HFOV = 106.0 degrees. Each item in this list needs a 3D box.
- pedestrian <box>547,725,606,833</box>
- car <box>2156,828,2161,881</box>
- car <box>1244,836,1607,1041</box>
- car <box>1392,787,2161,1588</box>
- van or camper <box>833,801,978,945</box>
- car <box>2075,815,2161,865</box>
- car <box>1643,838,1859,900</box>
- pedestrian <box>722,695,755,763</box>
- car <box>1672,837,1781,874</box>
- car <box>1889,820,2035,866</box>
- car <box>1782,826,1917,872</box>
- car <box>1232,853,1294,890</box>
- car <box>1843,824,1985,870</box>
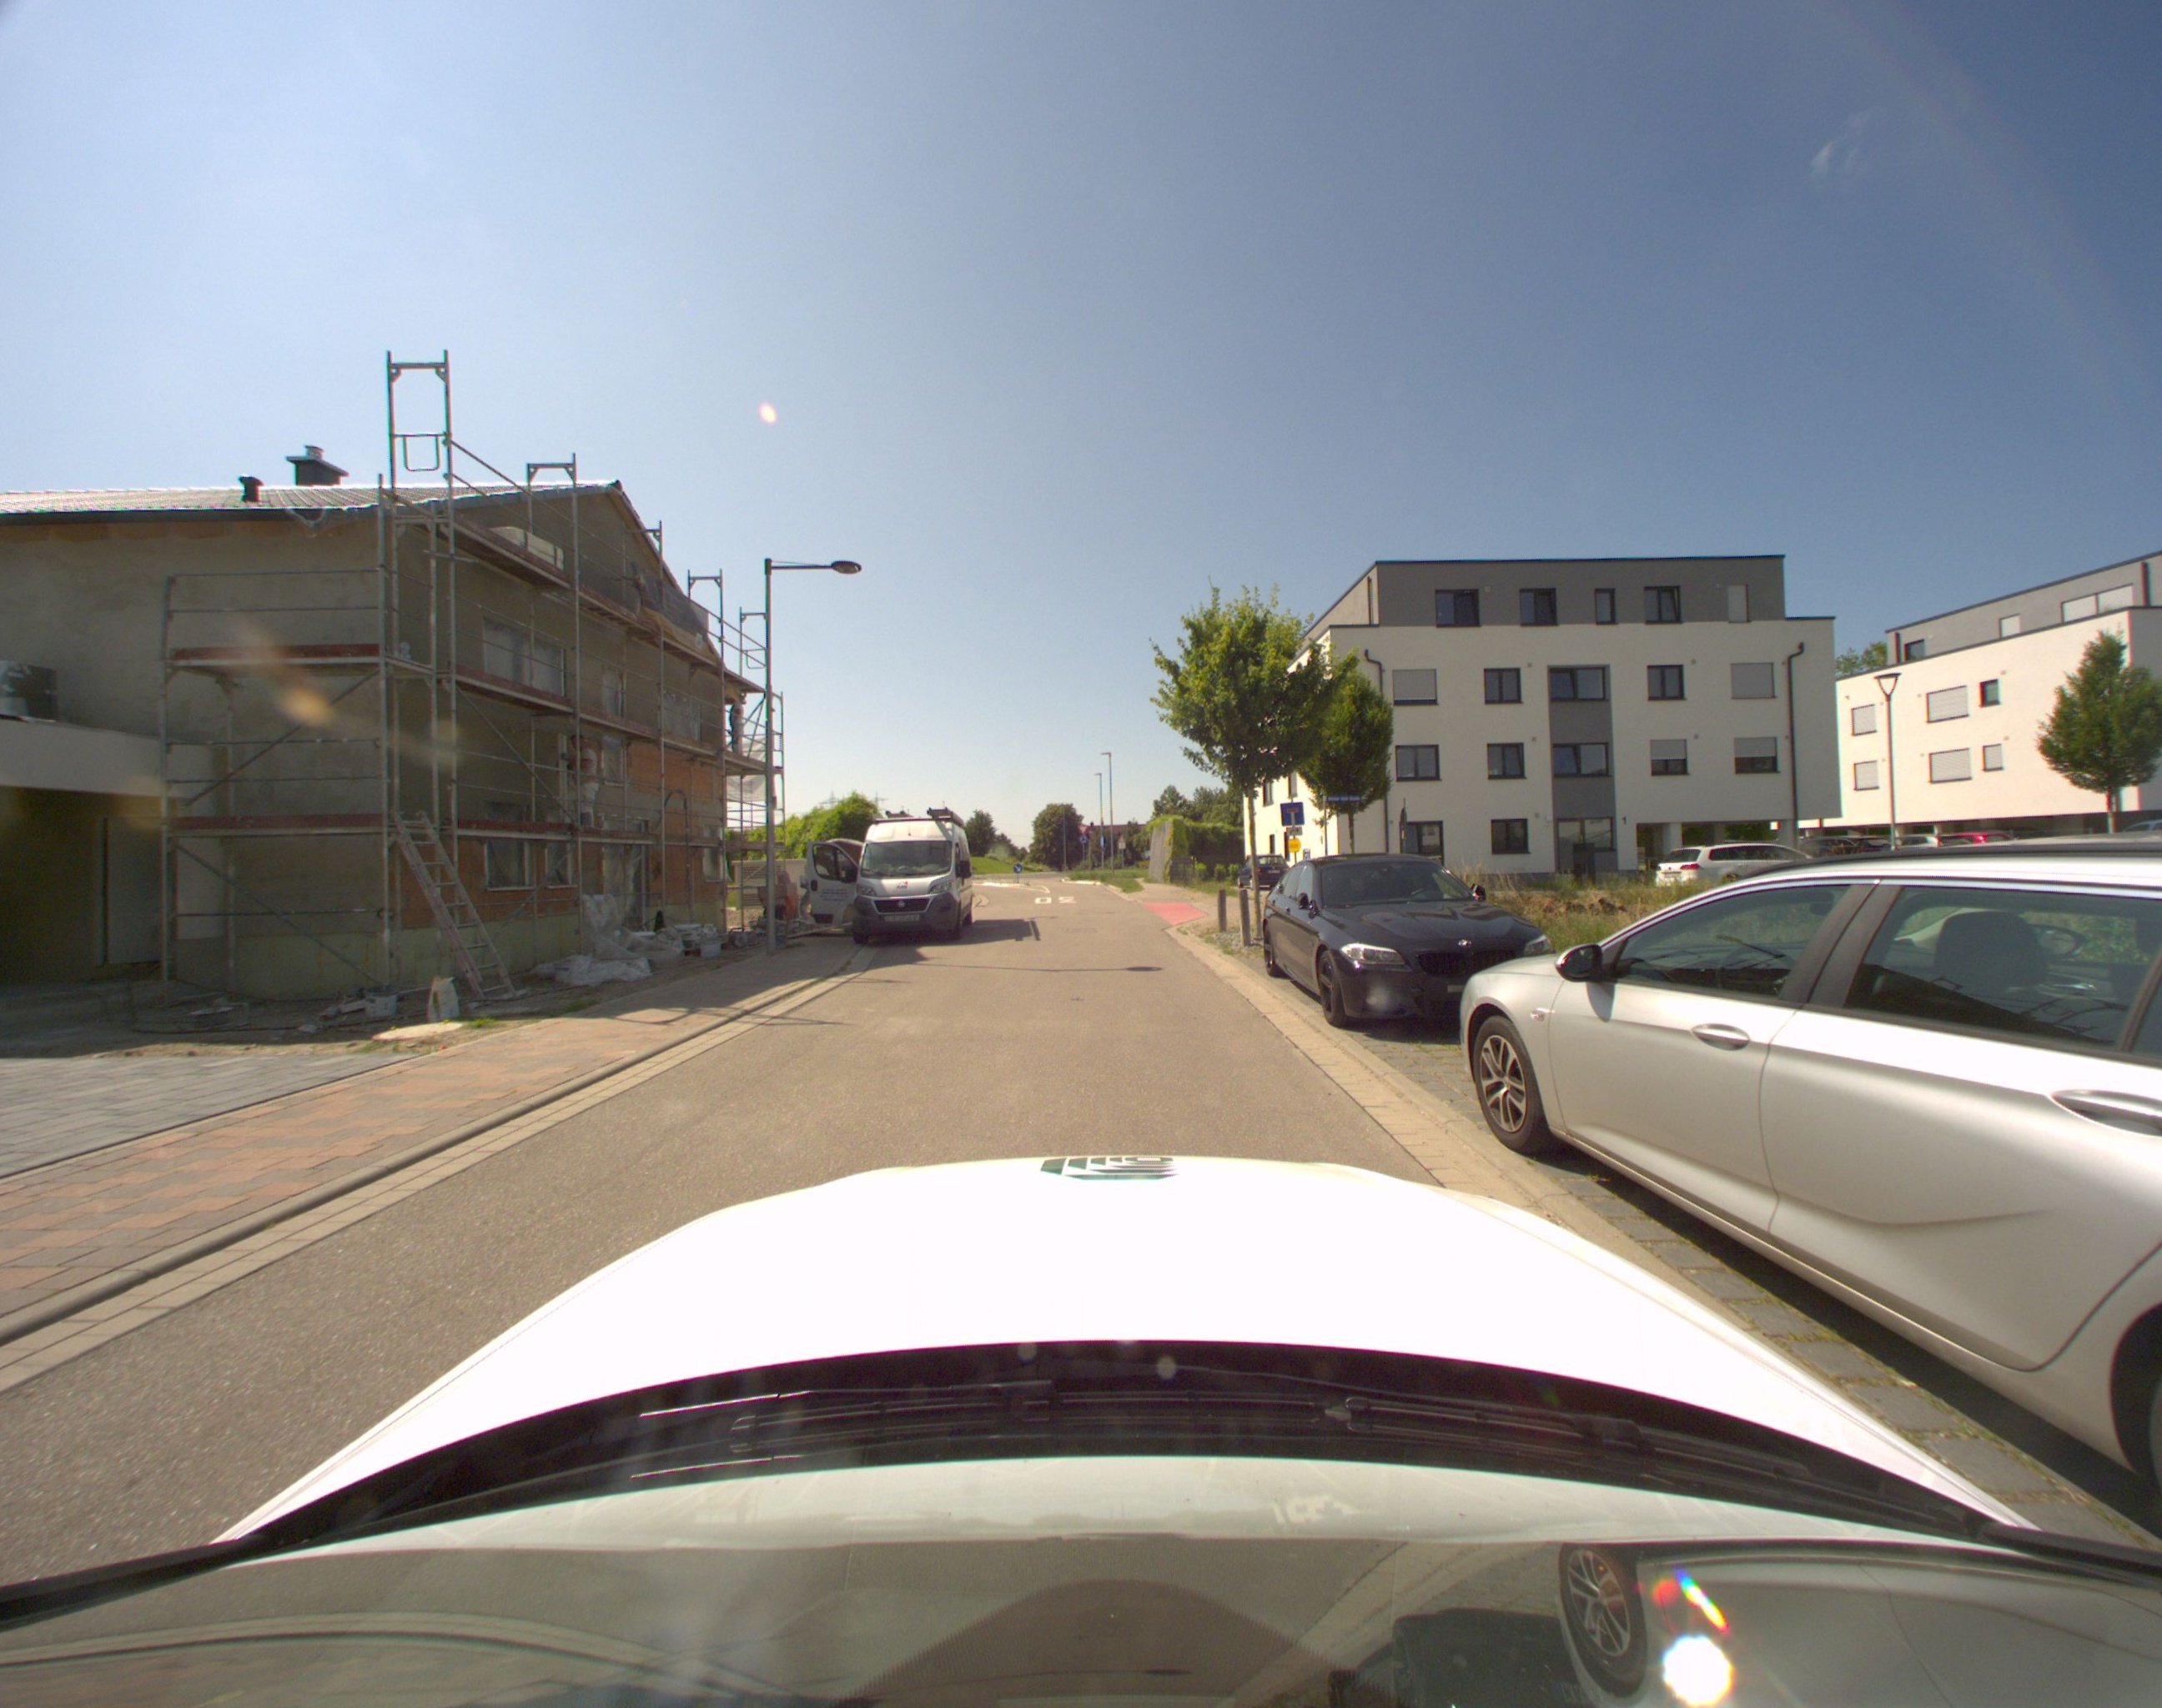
[{"bbox_3d":[-8.403,-1.222,13.559,0.752,1.680,0.571,1,-4,-41],"label":"pedestrian"},{"bbox_3d":[32.353,-0.088,21.999,4.146,1.478,1.882,-2,-2,-1],"label":"car"},{"bbox_3d":[3.135,0.647,8.781,1.910,1.469,5.144,-3,0,3],"label":"car"},{"bbox_3d":[2.984,0.582,2.712,1.911,1.511,5.296,-3,0,1],"label":"car"},{"bbox_3d":[-3.590,0.406,17.996,2.269,2.553,6.355,-2,-1,-5],"label":"van or camper"},{"bbox_3d":[40.692,-0.559,30.504,1.868,1.810,4.175,-2,-2,4],"label":"car"},{"bbox_3d":[17.601,0.413,21.548,4.146,1.436,1.882,-2,-2,-1],"label":"car"},{"bbox_3d":[-8.334,-3.023,19.816,0.566,1.500,0.740,0,-4,-36],"label":"pedestrian"},{"bbox_3d":[28.356,0.113,35.942,1.870,1.503,3.678,-2,-2,0],"label":"car"},{"bbox_3d":[38.673,-0.426,35.929,1.870,1.810,4.171,-2,-2,0],"label":"car"},{"bbox_3d":[33.156,-0.153,35.301,1.870,1.810,4.171,-2,-2,0],"label":"car"},{"bbox_3d":[7.781,0.718,35.121,1.673,1.470,4.114,-1,0,-1],"label":"car"},{"bbox_3d":[36.059,-0.248,35.423,1.870,1.810,4.171,-2,-2,0],"label":"car"}]
